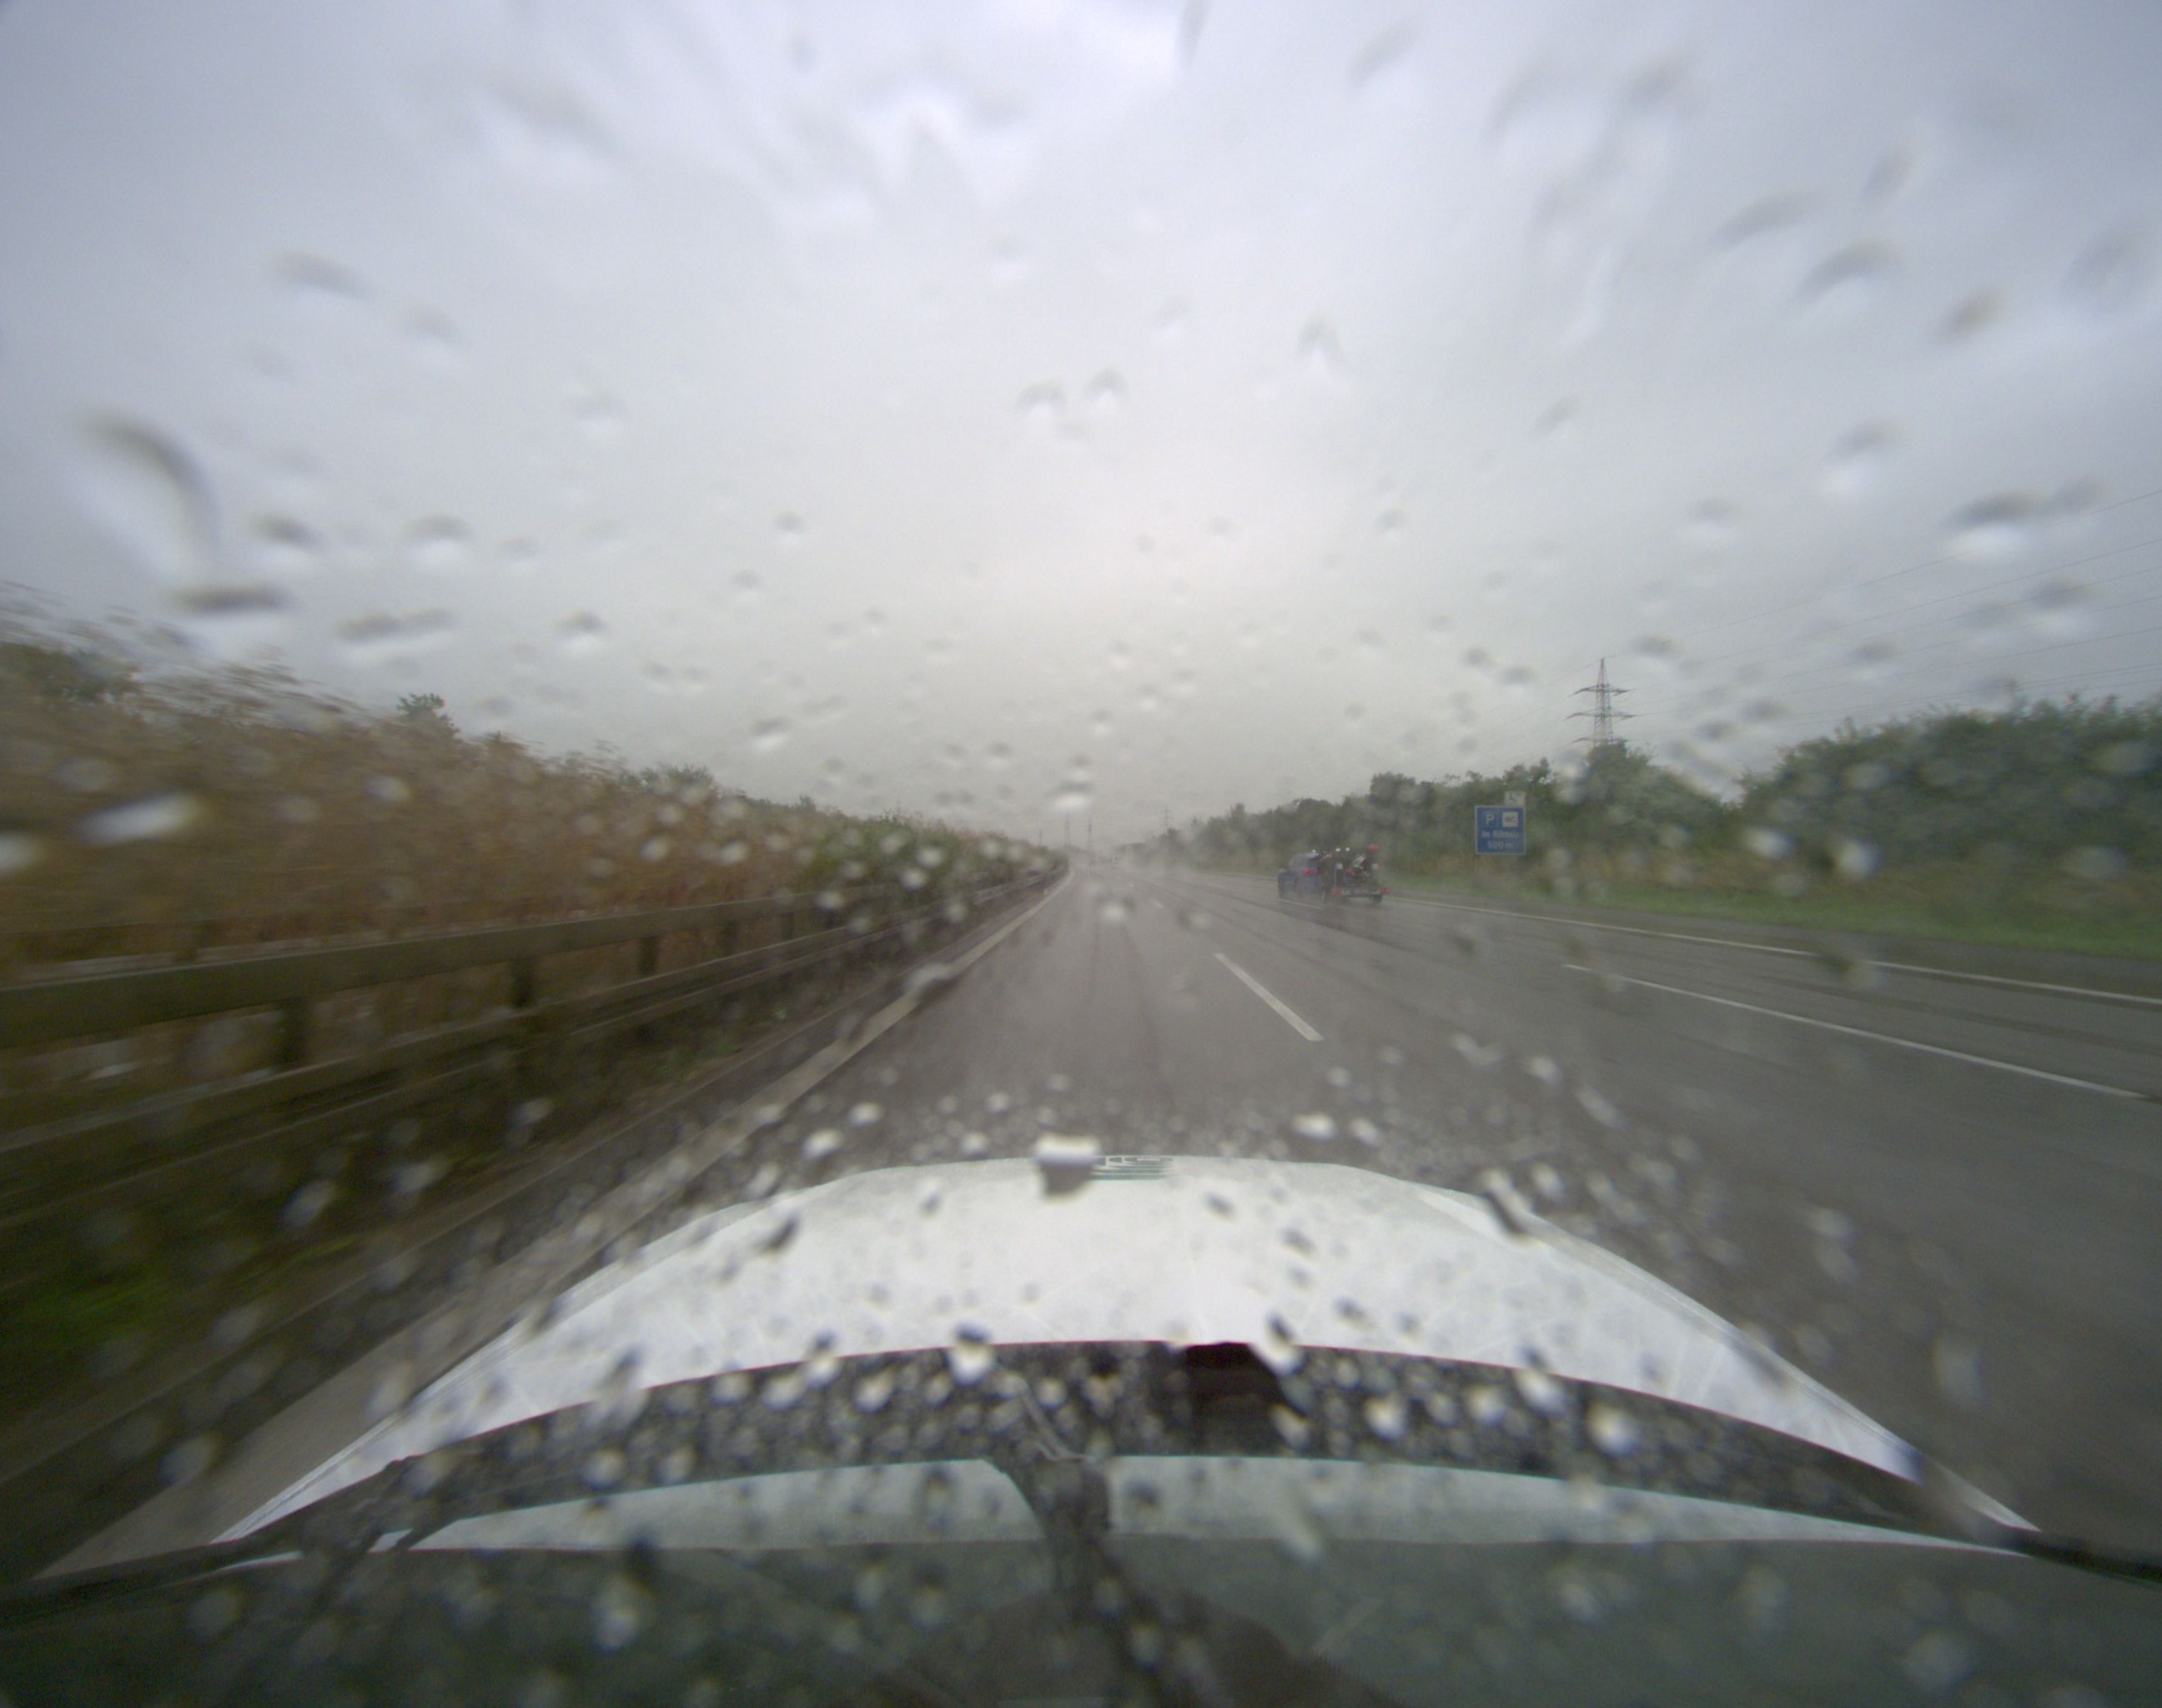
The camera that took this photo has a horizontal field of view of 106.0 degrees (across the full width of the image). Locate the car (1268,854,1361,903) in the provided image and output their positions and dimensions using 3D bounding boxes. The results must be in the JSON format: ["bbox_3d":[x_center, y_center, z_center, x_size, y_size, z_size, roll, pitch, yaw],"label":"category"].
[{"bbox_3d":[8.326,0.856,29.587,1.987,1.619,4.992,-1,-1,1],"label":"car"}]

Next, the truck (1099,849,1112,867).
[{"bbox_3d":[6.123,1.026,203.553,3.221,4.311,8.837,-1,0,1],"label":"truck"}]

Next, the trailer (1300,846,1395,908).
[{"bbox_3d":[8.234,0.700,25.466,1.971,1.785,3.190,-1,-1,2],"label":"trailer"}]

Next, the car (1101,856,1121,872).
[{"bbox_3d":[3.790,1.286,104.789,1.992,2.014,3.990,-1,0,-7],"label":"car"}]

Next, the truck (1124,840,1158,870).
[{"bbox_3d":[9.610,0.259,132.265,4.176,4.630,16.100,-1,-1,0],"label":"truck"}]
